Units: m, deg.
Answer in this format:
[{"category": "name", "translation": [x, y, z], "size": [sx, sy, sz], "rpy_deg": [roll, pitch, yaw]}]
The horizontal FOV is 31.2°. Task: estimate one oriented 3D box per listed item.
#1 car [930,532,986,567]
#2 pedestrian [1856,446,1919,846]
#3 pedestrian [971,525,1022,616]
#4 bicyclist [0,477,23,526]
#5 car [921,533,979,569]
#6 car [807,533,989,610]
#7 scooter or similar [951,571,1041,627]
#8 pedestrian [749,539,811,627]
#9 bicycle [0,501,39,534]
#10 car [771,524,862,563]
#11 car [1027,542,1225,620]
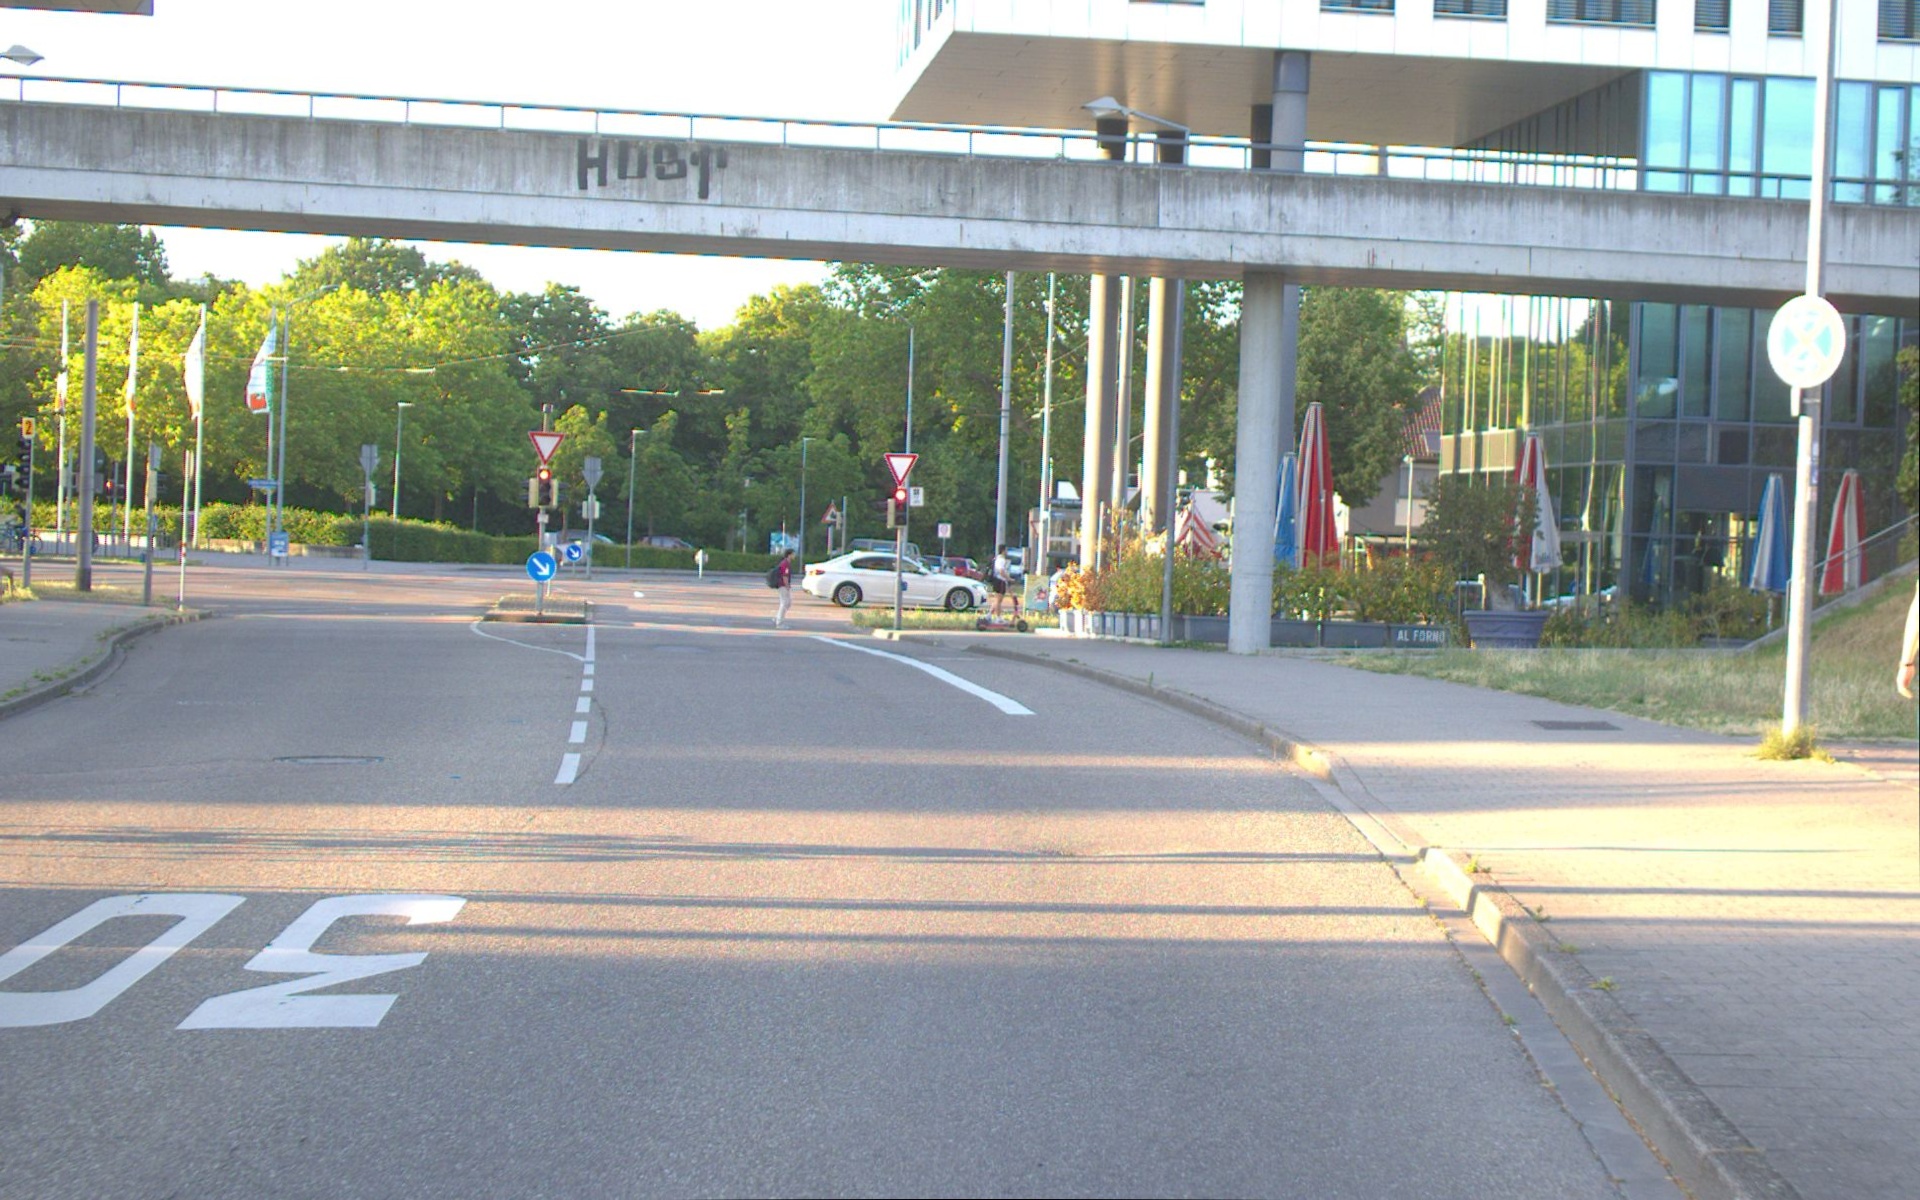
[{"category": "car", "translation": [-0.075, -2.427, 164.984], "size": [1.499, 1.600, 3.399], "rpy_deg": [3, 2, 21]}, {"category": "pedestrian", "translation": [4.595, 0.220, 15.540], "size": [0.831, 1.760, 0.818], "rpy_deg": [2, -1, 2]}, {"category": "pedestrian", "translation": [0.820, -0.673, 77.504], "size": [0.908, 1.984, 0.772], "rpy_deg": [2, 2, -13]}, {"category": "bicyclist", "translation": [-34.288, -3.554, 124.014], "size": [0.757, 1.717, 0.552], "rpy_deg": [1, 2, -30]}, {"category": "car", "translation": [-0.469, -2.304, 161.210], "size": [1.499, 1.600, 3.399], "rpy_deg": [3, 2, 21]}, {"category": "car", "translation": [-1.666, -0.758, 91.429], "size": [4.686, 1.822, 1.835], "rpy_deg": [2, 2, -4]}, {"category": "scooter or similar", "translation": [0.810, -0.022, 77.540], "size": [1.859, 1.170, 0.764], "rpy_deg": [2, 2, -13]}, {"category": "pedestrian", "translation": [-3.878, -0.376, 73.958], "size": [1.053, 1.827, 0.895], "rpy_deg": [2, 2, -18]}, {"category": "bicycle", "translation": [-34.307, -2.996, 124.021], "size": [1.962, 1.124, 0.560], "rpy_deg": [1, 2, -30]}, {"category": "car", "translation": [-7.675, -3.041, 183.847], "size": [4.684, 1.862, 2.013], "rpy_deg": [2, 2, 2]}, {"category": "car", "translation": [4.303, -0.494, 89.432], "size": [4.712, 1.822, 1.893], "rpy_deg": [2, 2, -14]}]
